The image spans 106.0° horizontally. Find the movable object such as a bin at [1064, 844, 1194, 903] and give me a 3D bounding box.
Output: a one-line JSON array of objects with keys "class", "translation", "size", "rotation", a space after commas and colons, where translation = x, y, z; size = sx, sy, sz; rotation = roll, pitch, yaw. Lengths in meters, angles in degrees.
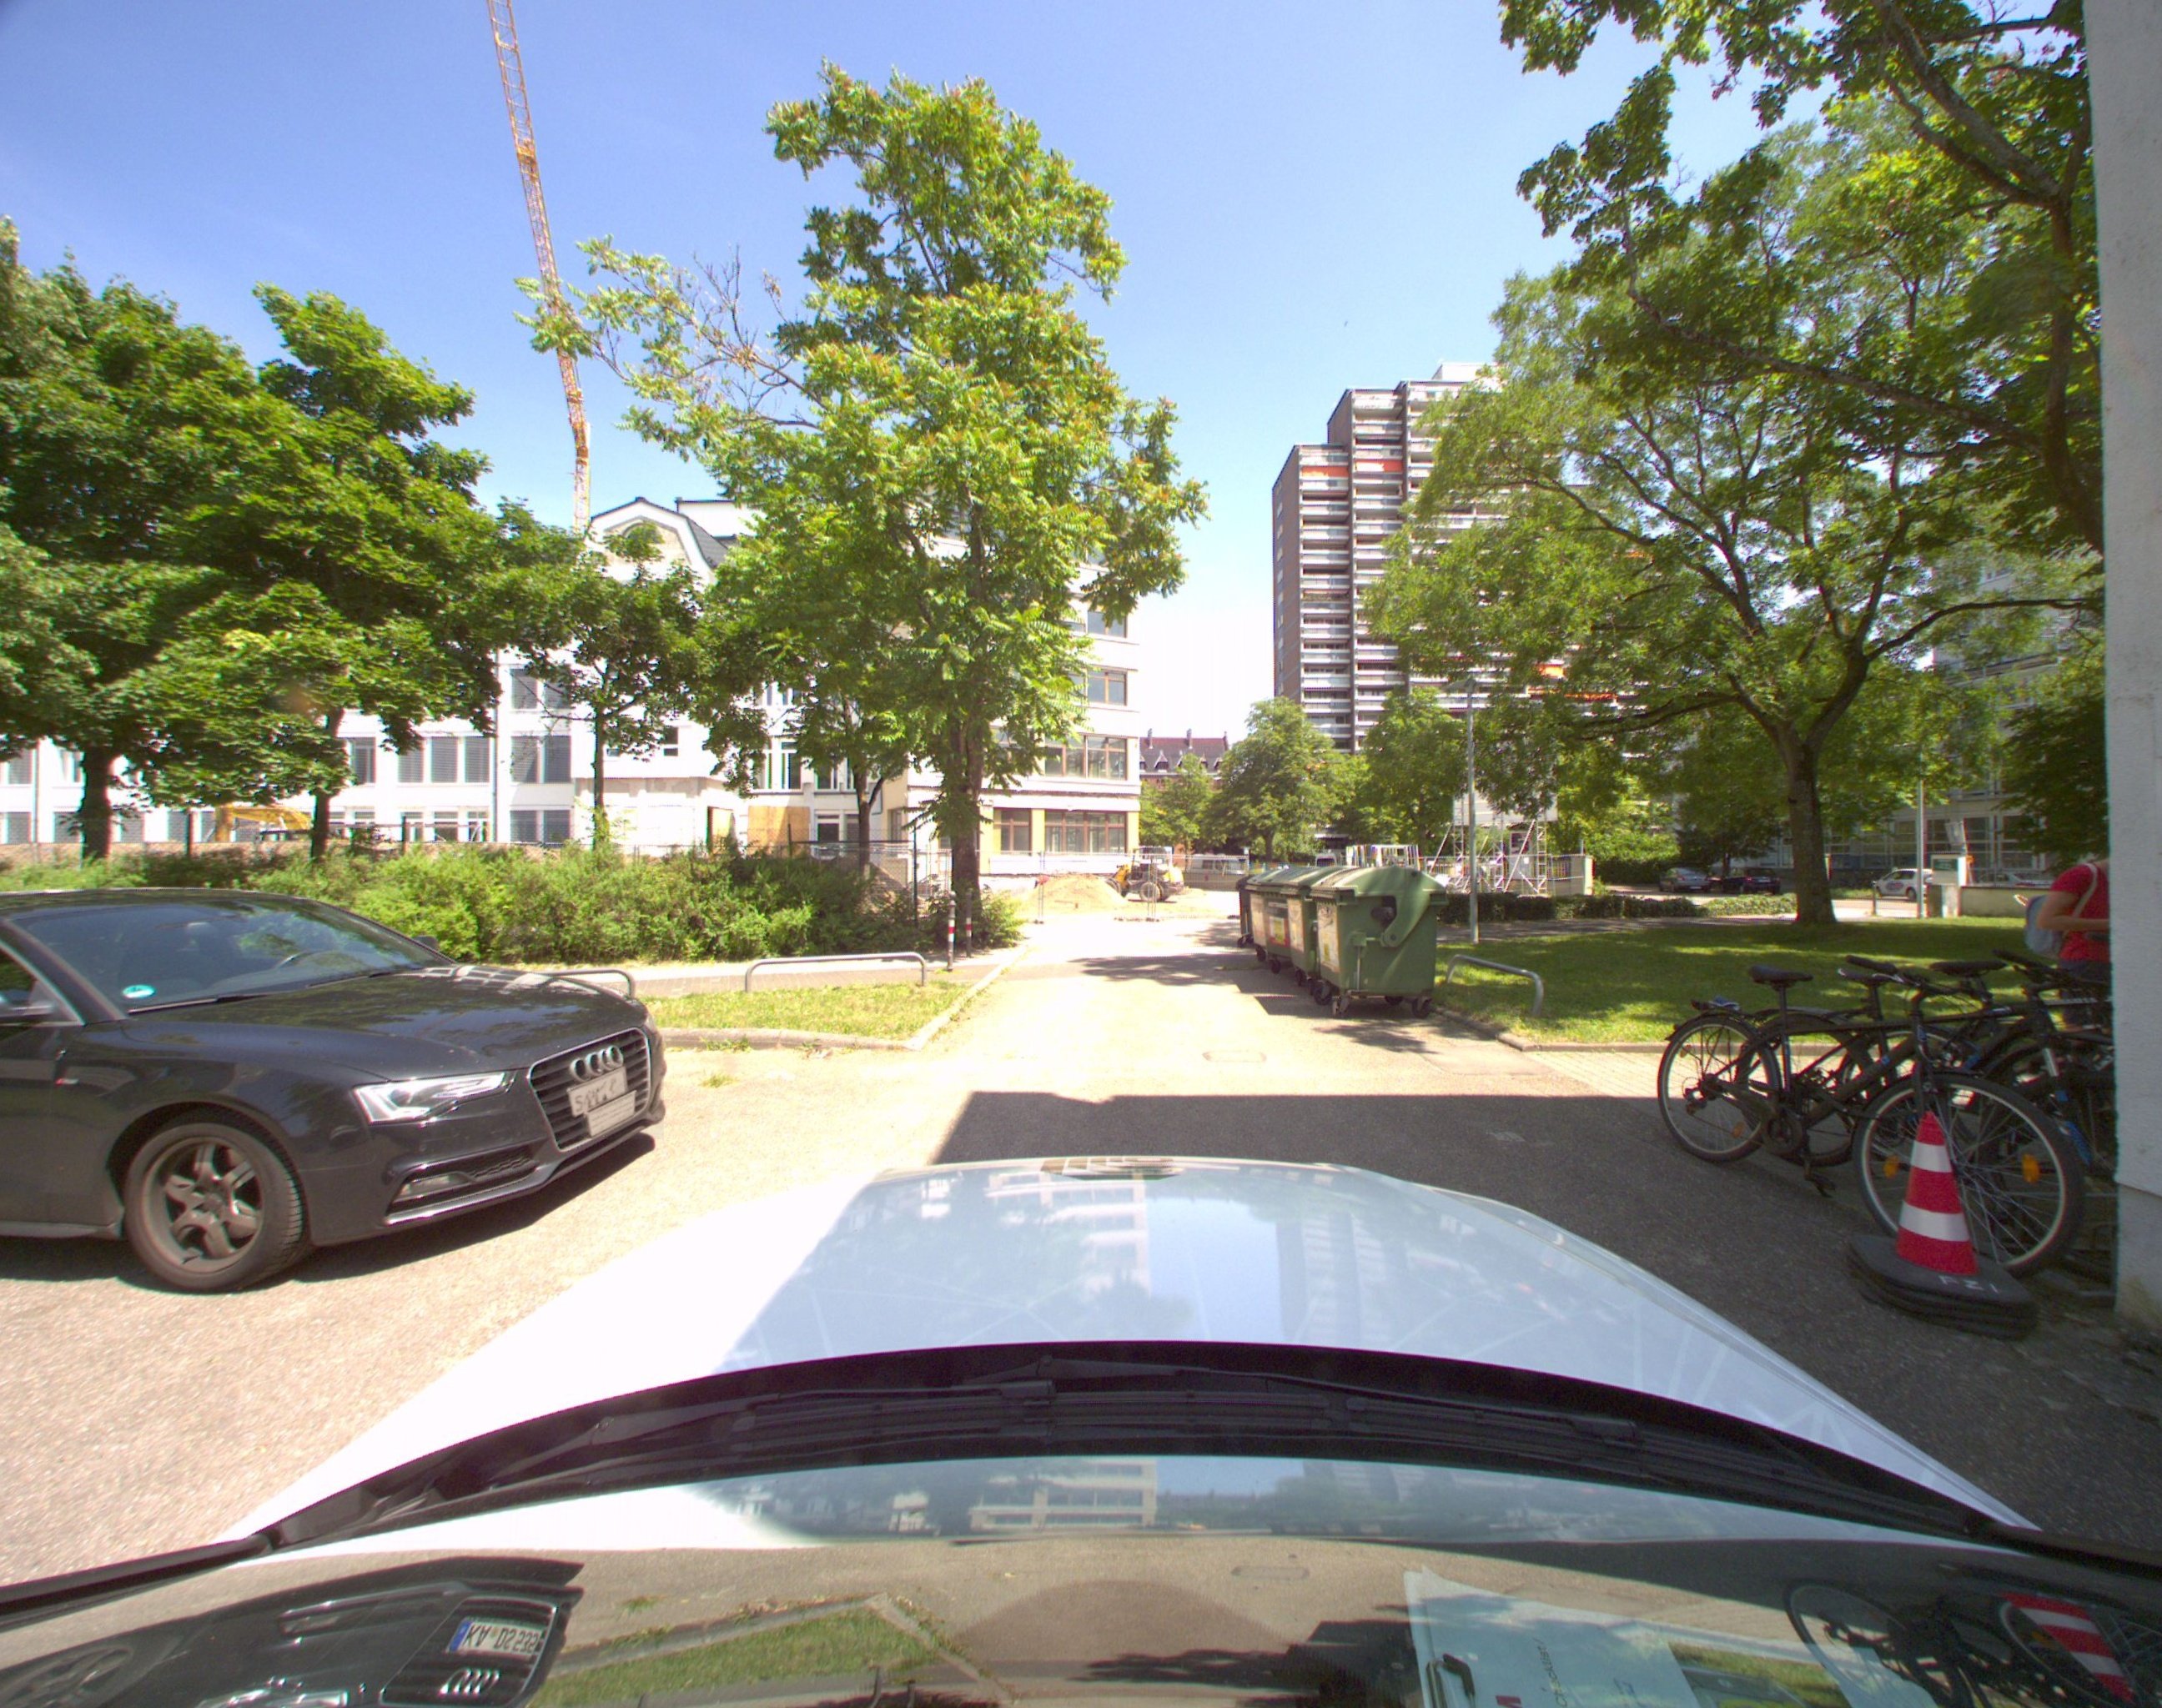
[{"class": "movable object such as a bin", "translation": [2.183, 0.848, 37.311], "size": [5.352, 2.464, 2.382], "rotation": [1, -1, 29]}]

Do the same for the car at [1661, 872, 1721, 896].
[{"class": "car", "translation": [34.988, 1.679, 46.820], "size": [1.897, 1.310, 3.952], "rotation": [-1, -1, 24]}]

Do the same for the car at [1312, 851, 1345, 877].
[{"class": "car", "translation": [22.165, 0.932, 72.819], "size": [2.165, 2.258, 4.895], "rotation": [-1, -1, 24]}]

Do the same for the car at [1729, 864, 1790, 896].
[{"class": "car", "translation": [36.725, 1.395, 44.174], "size": [1.992, 1.629, 3.955], "rotation": [-1, -1, 32]}]

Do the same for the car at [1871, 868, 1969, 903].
[{"class": "car", "translation": [39.588, 1.461, 38.556], "size": [1.651, 1.590, 3.709], "rotation": [-1, -1, 17]}]

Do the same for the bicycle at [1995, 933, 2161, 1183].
[{"class": "bicycle", "translation": [5.190, 0.968, 3.547], "size": [0.403, 1.102, 1.827], "rotation": [0, -1, 2]}]

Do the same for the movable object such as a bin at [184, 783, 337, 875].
[{"class": "movable object such as a bin", "translation": [-39.925, -1.160, 39.689], "size": [5.676, 4.373, 2.003], "rotation": [0, -1, 5]}]

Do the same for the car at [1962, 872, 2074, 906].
[{"class": "car", "translation": [40.739, 1.483, 35.533], "size": [1.650, 1.415, 3.730], "rotation": [-1, -1, 21]}]

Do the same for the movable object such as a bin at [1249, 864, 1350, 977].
[{"class": "movable object such as a bin", "translation": [2.957, 0.868, 11.172], "size": [1.071, 1.458, 1.378], "rotation": [0, -1, 3]}]

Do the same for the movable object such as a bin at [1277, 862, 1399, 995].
[{"class": "movable object such as a bin", "translation": [3.002, 0.838, 9.697], "size": [1.071, 1.458, 1.378], "rotation": [0, -1, 3]}]

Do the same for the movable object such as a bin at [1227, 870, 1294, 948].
[{"class": "movable object such as a bin", "translation": [3.512, 1.055, 16.085], "size": [1.071, 1.458, 1.378], "rotation": [0, -1, 3]}]

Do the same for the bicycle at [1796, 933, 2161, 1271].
[{"class": "bicycle", "translation": [4.147, 0.973, 3.607], "size": [0.403, 1.102, 1.827], "rotation": [0, -1, 2]}]

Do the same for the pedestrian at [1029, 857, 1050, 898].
[{"class": "pedestrian", "translation": [-1.914, 1.085, 37.695], "size": [0.910, 1.847, 0.987], "rotation": [0, -1, 3]}]

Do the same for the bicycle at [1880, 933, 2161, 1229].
[{"class": "bicycle", "translation": [4.583, 0.971, 3.571], "size": [0.403, 1.102, 1.827], "rotation": [0, -1, 2]}]

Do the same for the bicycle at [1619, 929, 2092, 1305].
[{"class": "bicycle", "translation": [3.166, 0.953, 3.614], "size": [0.403, 1.102, 1.827], "rotation": [0, -1, 2]}]

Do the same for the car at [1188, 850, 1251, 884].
[{"class": "car", "translation": [10.341, 0.998, 61.188], "size": [2.004, 2.416, 5.197], "rotation": [1, -1, -27]}]

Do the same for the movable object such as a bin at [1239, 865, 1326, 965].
[{"class": "movable object such as a bin", "translation": [3.075, 0.911, 12.591], "size": [1.071, 1.458, 1.378], "rotation": [0, -1, 3]}]

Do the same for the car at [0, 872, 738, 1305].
[{"class": "car", "translation": [-4.295, 0.823, 3.894], "size": [4.409, 1.380, 2.026], "rotation": [0, 1, 4]}]

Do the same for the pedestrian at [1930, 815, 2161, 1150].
[{"class": "pedestrian", "translation": [5.473, 0.677, 4.626], "size": [0.548, 1.749, 0.690], "rotation": [0, -1, 3]}]

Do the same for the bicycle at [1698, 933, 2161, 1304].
[{"class": "bicycle", "translation": [3.635, 0.975, 3.653], "size": [0.403, 1.102, 1.827], "rotation": [0, -1, 2]}]

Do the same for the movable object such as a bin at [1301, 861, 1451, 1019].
[{"class": "movable object such as a bin", "translation": [2.920, 0.808, 8.255], "size": [1.071, 1.458, 1.378], "rotation": [0, -1, 3]}]
